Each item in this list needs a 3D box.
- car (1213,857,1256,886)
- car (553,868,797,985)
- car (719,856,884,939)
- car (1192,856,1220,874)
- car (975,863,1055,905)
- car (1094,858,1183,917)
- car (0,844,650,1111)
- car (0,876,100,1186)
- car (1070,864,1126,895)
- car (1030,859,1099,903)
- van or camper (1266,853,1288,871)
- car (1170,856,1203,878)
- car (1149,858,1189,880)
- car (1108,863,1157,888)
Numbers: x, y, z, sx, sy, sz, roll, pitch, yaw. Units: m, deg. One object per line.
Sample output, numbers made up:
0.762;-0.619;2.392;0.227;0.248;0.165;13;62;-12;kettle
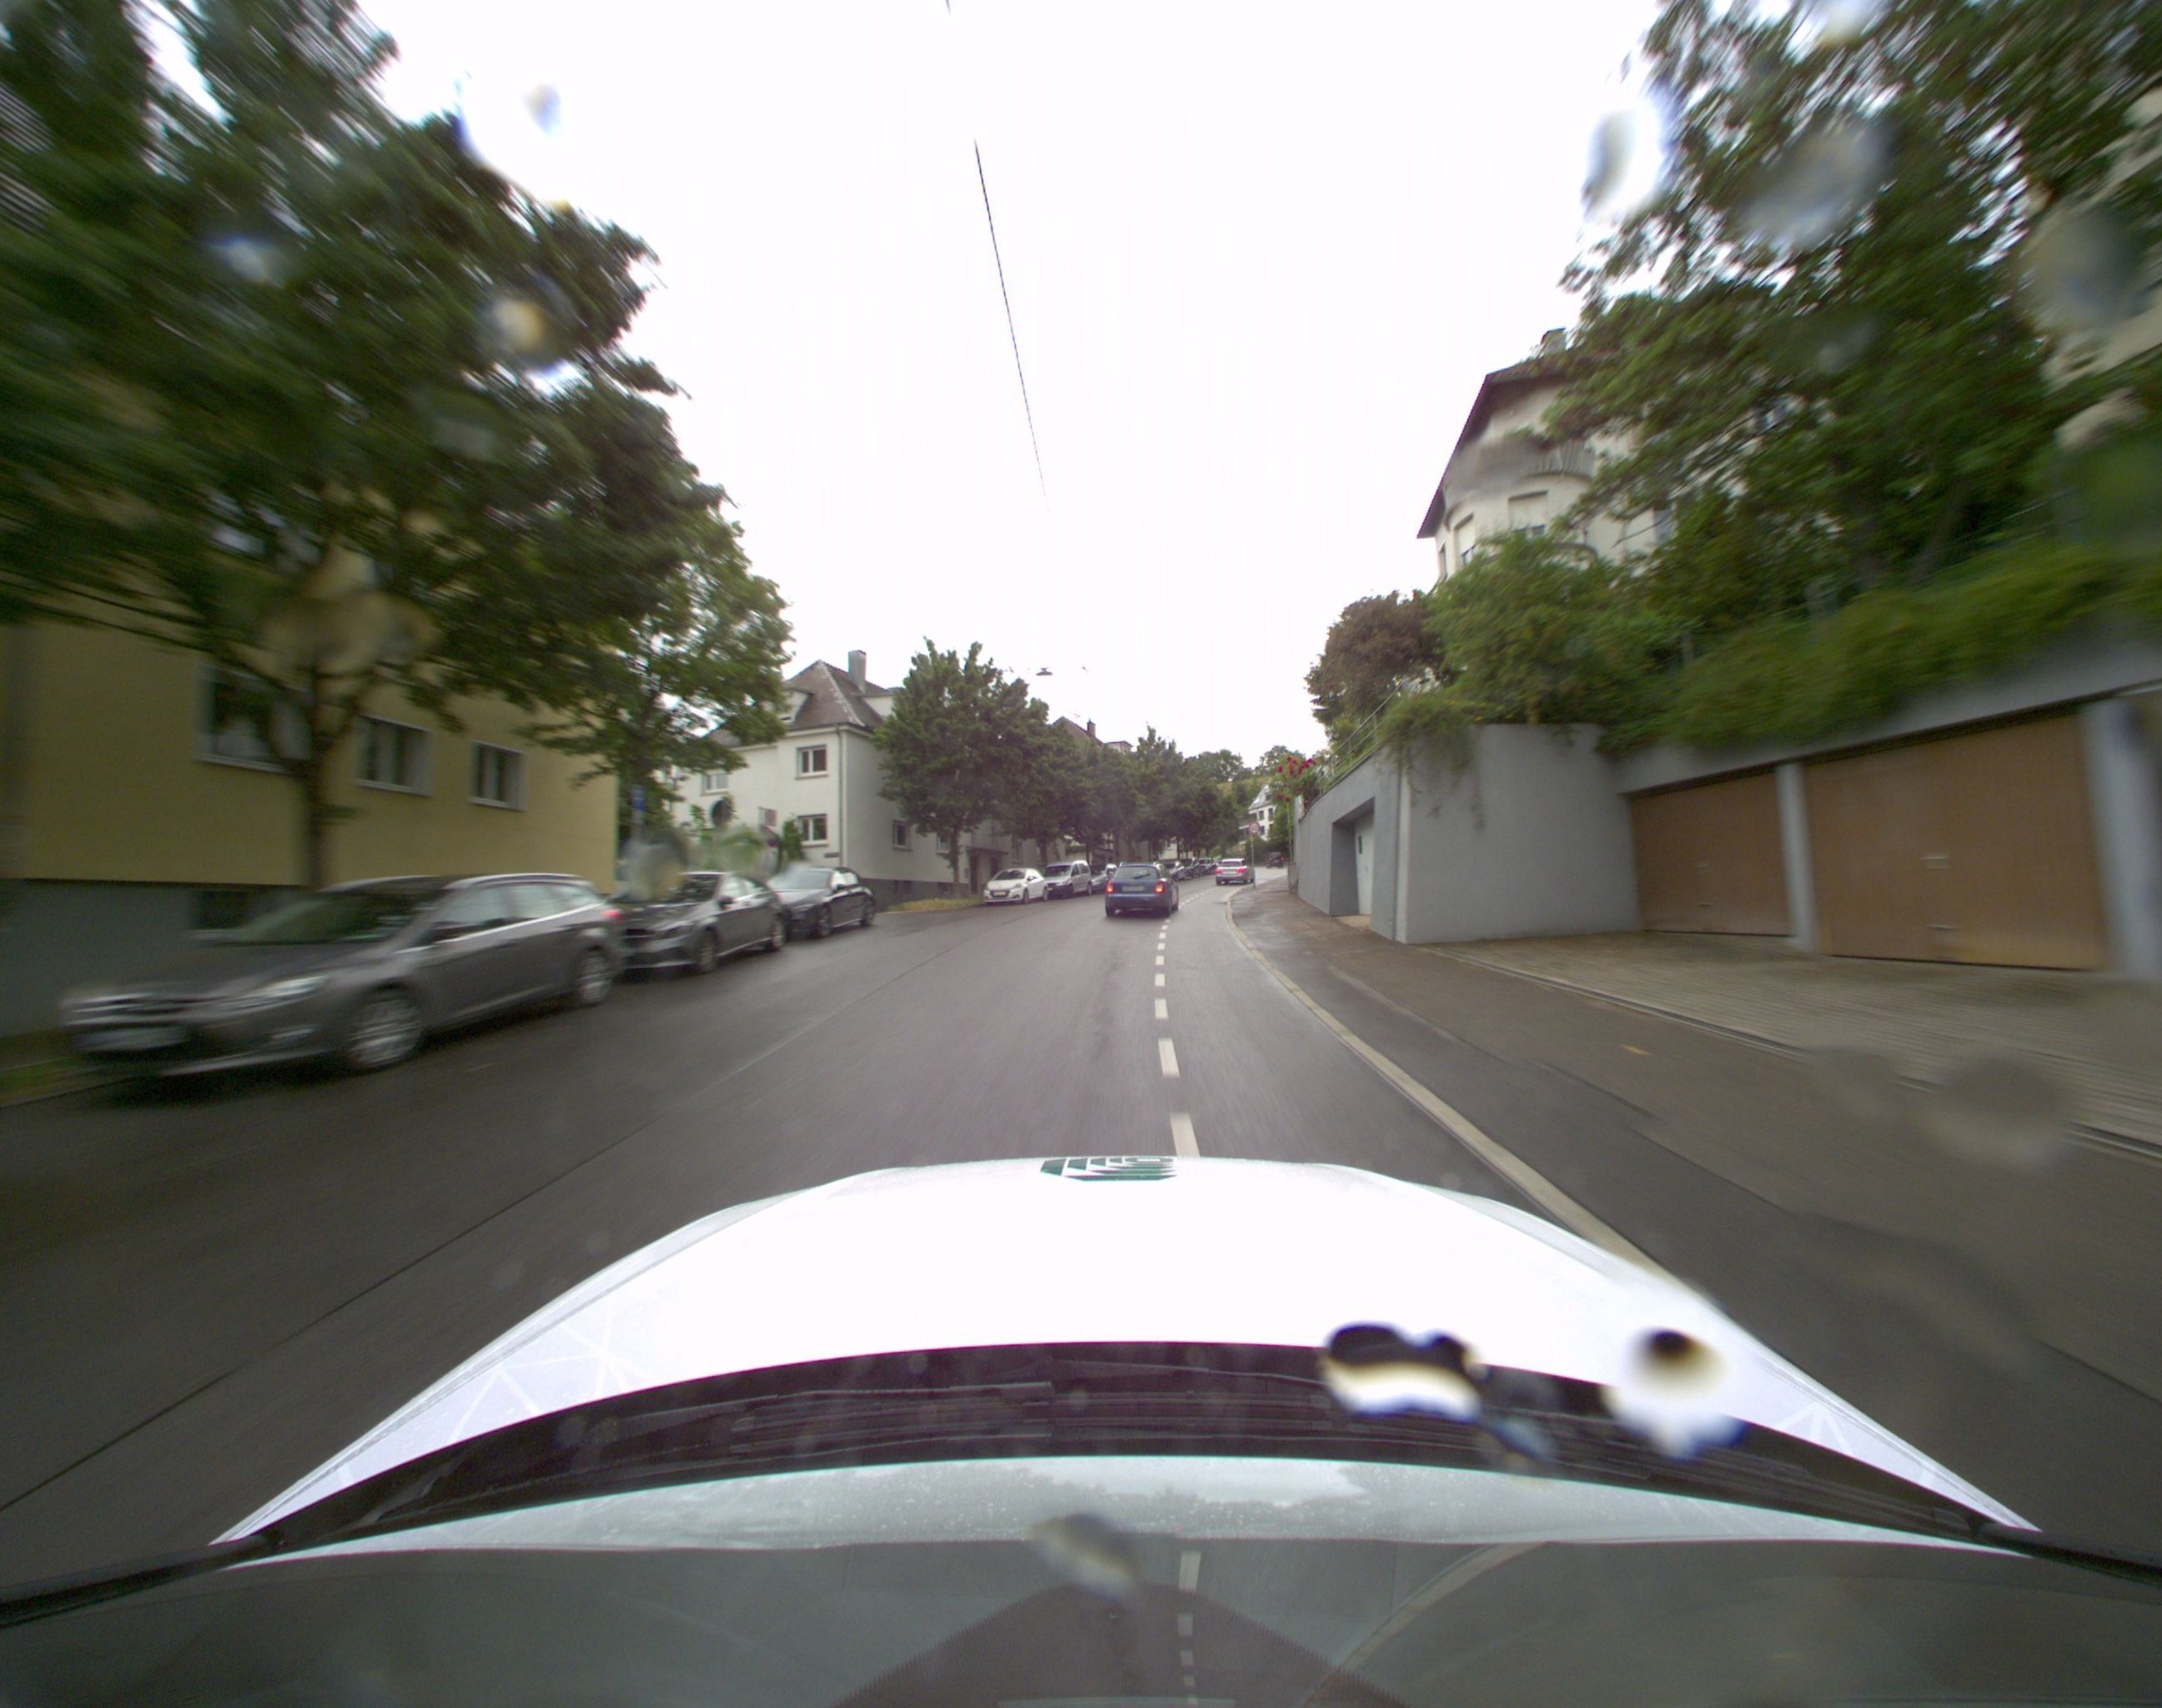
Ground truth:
8.965;0.958;47.258;1.935;1.561;4.282;1;0;17;car
-5.945;0.963;12.569;1.609;1.397;4.321;-1;0;-1;car
-5.831;0.847;17.638;1.767;1.540;4.521;-1;-1;4;car
11.218;0.998;72.912;1.698;1.462;3.901;-1;1;20;car
-2.666;1.248;33.872;1.771;1.514;4.364;-5;-3;16;car
1.728;0.873;22.872;1.841;1.414;4.376;-2;0;12;car
-6.177;0.807;7.500;1.847;1.690;4.557;-1;0;2;car
-6.074;0.885;1.954;1.850;1.498;4.734;-1;0;-4;car
0.968;1.364;44.429;1.790;1.486;4.255;-5;-3;18;car
-0.728;1.288;39.703;1.898;2.001;4.570;-1;-2;19;car
23.394;0.944;97.039;1.977;2.014;4.019;-2;-3;20;van or camper
8.530;1.029;65.563;1.789;1.627;4.159;-2;-1;19;car
6.512;1.102;59.864;1.790;1.552;4.823;-1;-2;19;car
3.185;1.296;49.430;1.790;1.453;4.618;-1;-2;19;car
